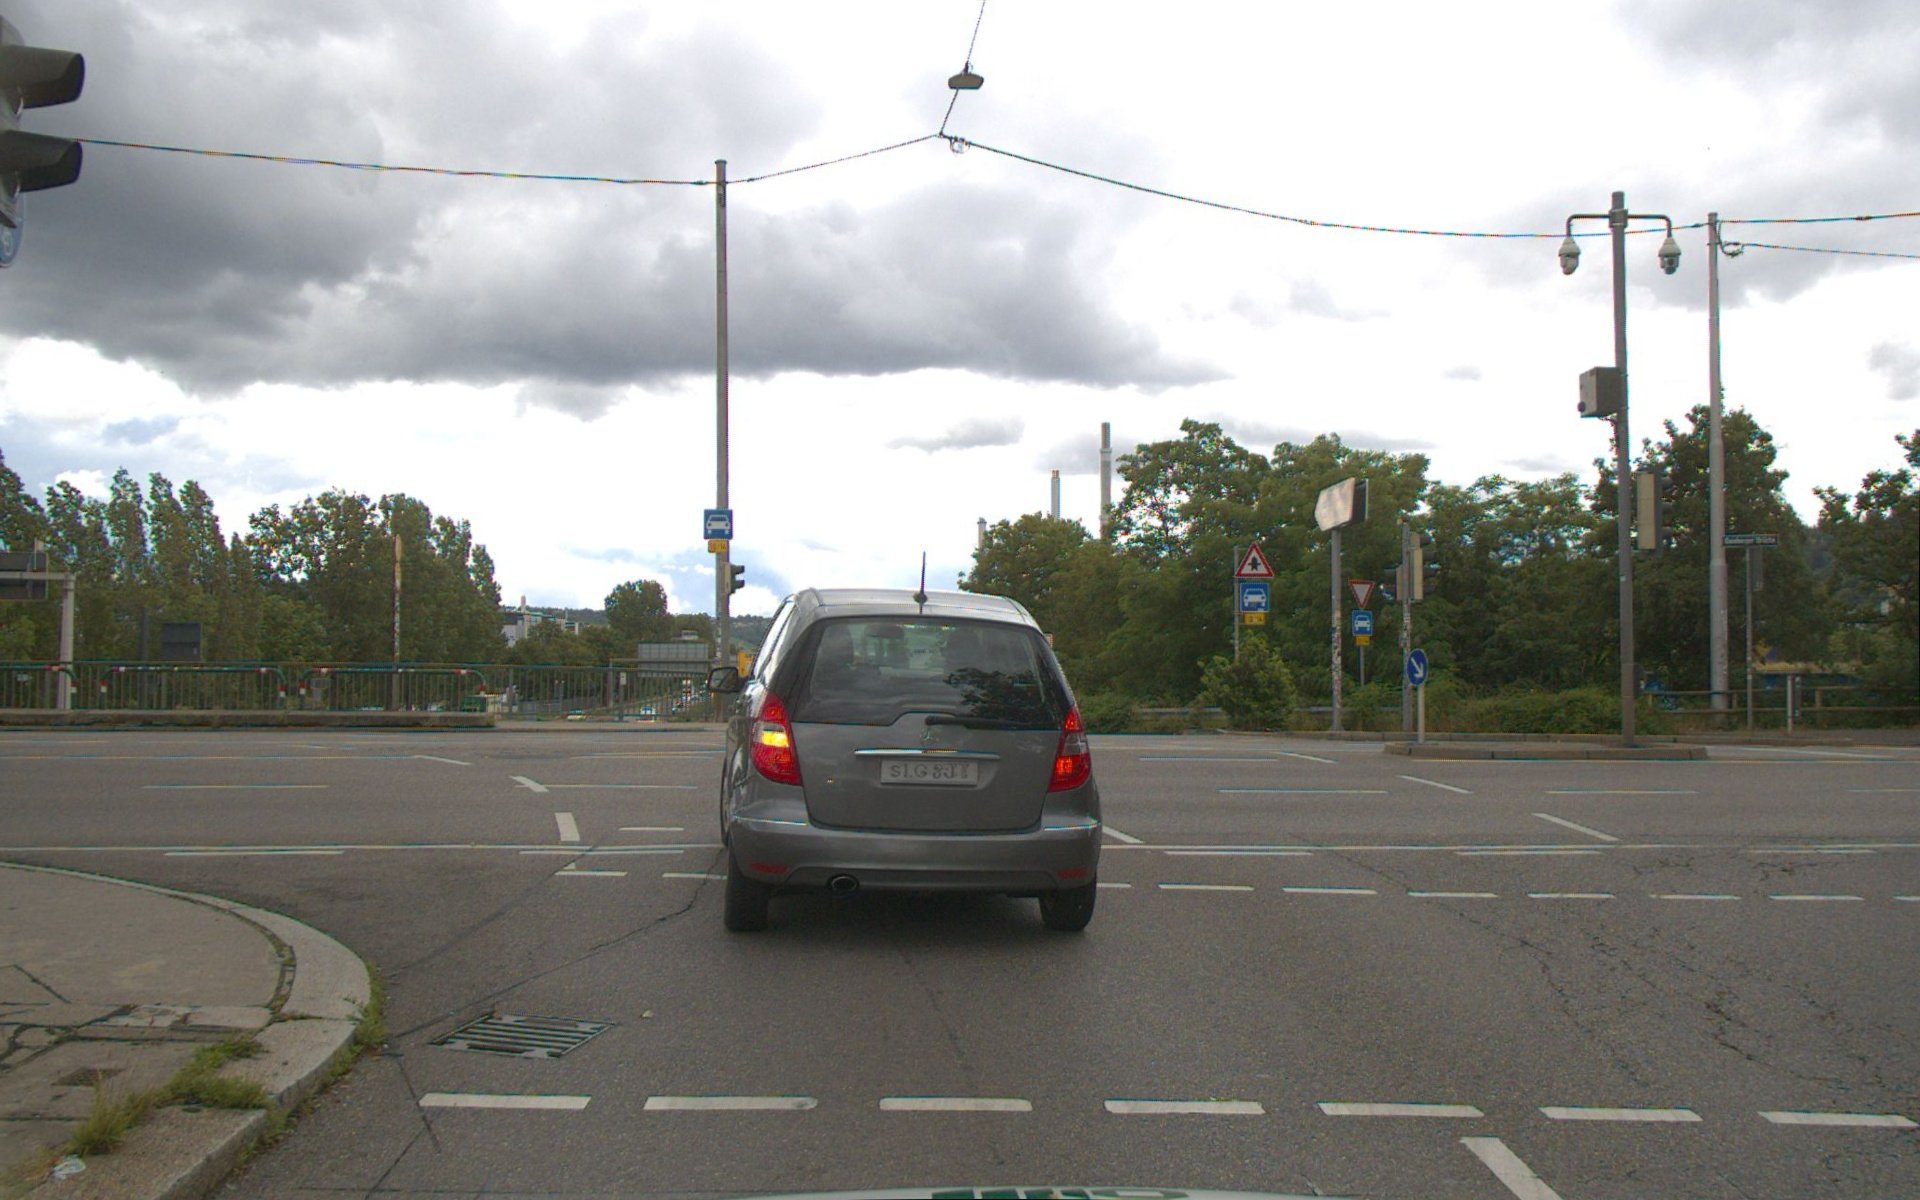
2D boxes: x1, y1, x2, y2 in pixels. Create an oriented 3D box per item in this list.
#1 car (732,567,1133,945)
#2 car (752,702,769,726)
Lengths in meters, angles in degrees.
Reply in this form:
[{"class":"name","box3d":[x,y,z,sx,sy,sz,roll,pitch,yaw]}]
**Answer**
[{"class":"car","box3d":[-0.362,0.707,8.967,1.712,1.578,3.863,1,-2,-8]},{"class":"car","box3d":[-23.166,13.279,192.211,1.955,2.668,5.389,-1,-4,-7]}]
